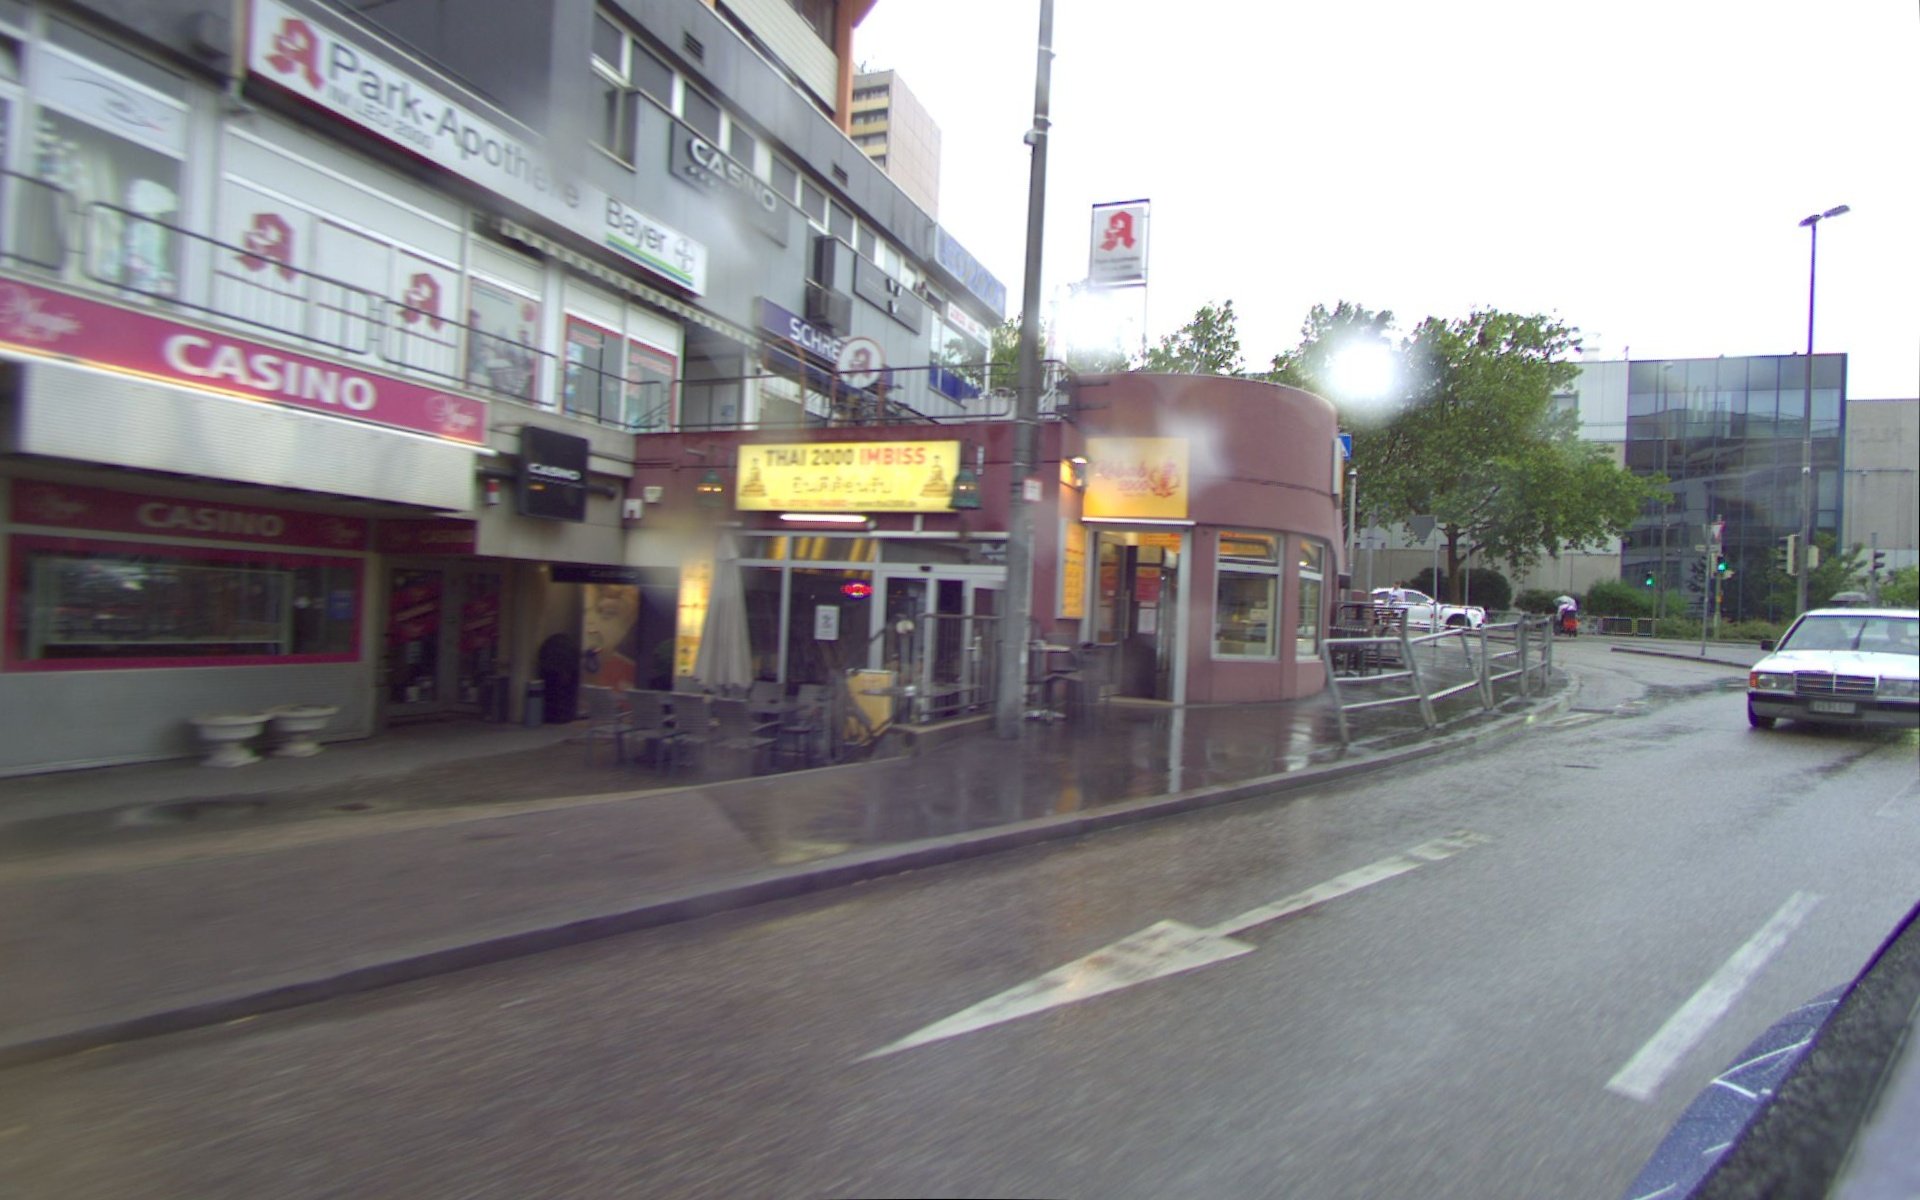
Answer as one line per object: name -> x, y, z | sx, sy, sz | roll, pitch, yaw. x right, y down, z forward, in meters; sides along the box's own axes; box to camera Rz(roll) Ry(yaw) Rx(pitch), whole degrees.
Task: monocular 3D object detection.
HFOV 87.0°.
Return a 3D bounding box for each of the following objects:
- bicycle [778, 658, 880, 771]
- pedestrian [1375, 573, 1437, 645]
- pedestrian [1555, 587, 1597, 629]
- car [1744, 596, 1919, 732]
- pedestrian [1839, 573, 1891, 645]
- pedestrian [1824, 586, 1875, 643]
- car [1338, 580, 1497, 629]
bicycle -> -1.353, 1.166, 10.745 | 0.523, 0.949, 1.571 | 4, 2, 13
pedestrian -> 11.681, 0.228, 26.514 | 1.238, 1.852, 0.717 | 1, 1, -6
pedestrian -> 21.778, 0.268, 35.782 | 0.909, 1.418, 1.208 | 1, 1, 14
car -> 10.849, 0.644, 11.883 | 3.922, 1.324, 1.662 | 0, 2, -38
pedestrian -> 23.655, 0.221, 26.456 | 0.781, 1.825, 0.689 | 1, 4, -30
pedestrian -> 22.885, 0.375, 26.046 | 0.756, 1.396, 0.689 | 1, 4, -30
car -> 15.755, 0.112, 35.153 | 4.875, 1.532, 1.837 | 2, 1, 23
